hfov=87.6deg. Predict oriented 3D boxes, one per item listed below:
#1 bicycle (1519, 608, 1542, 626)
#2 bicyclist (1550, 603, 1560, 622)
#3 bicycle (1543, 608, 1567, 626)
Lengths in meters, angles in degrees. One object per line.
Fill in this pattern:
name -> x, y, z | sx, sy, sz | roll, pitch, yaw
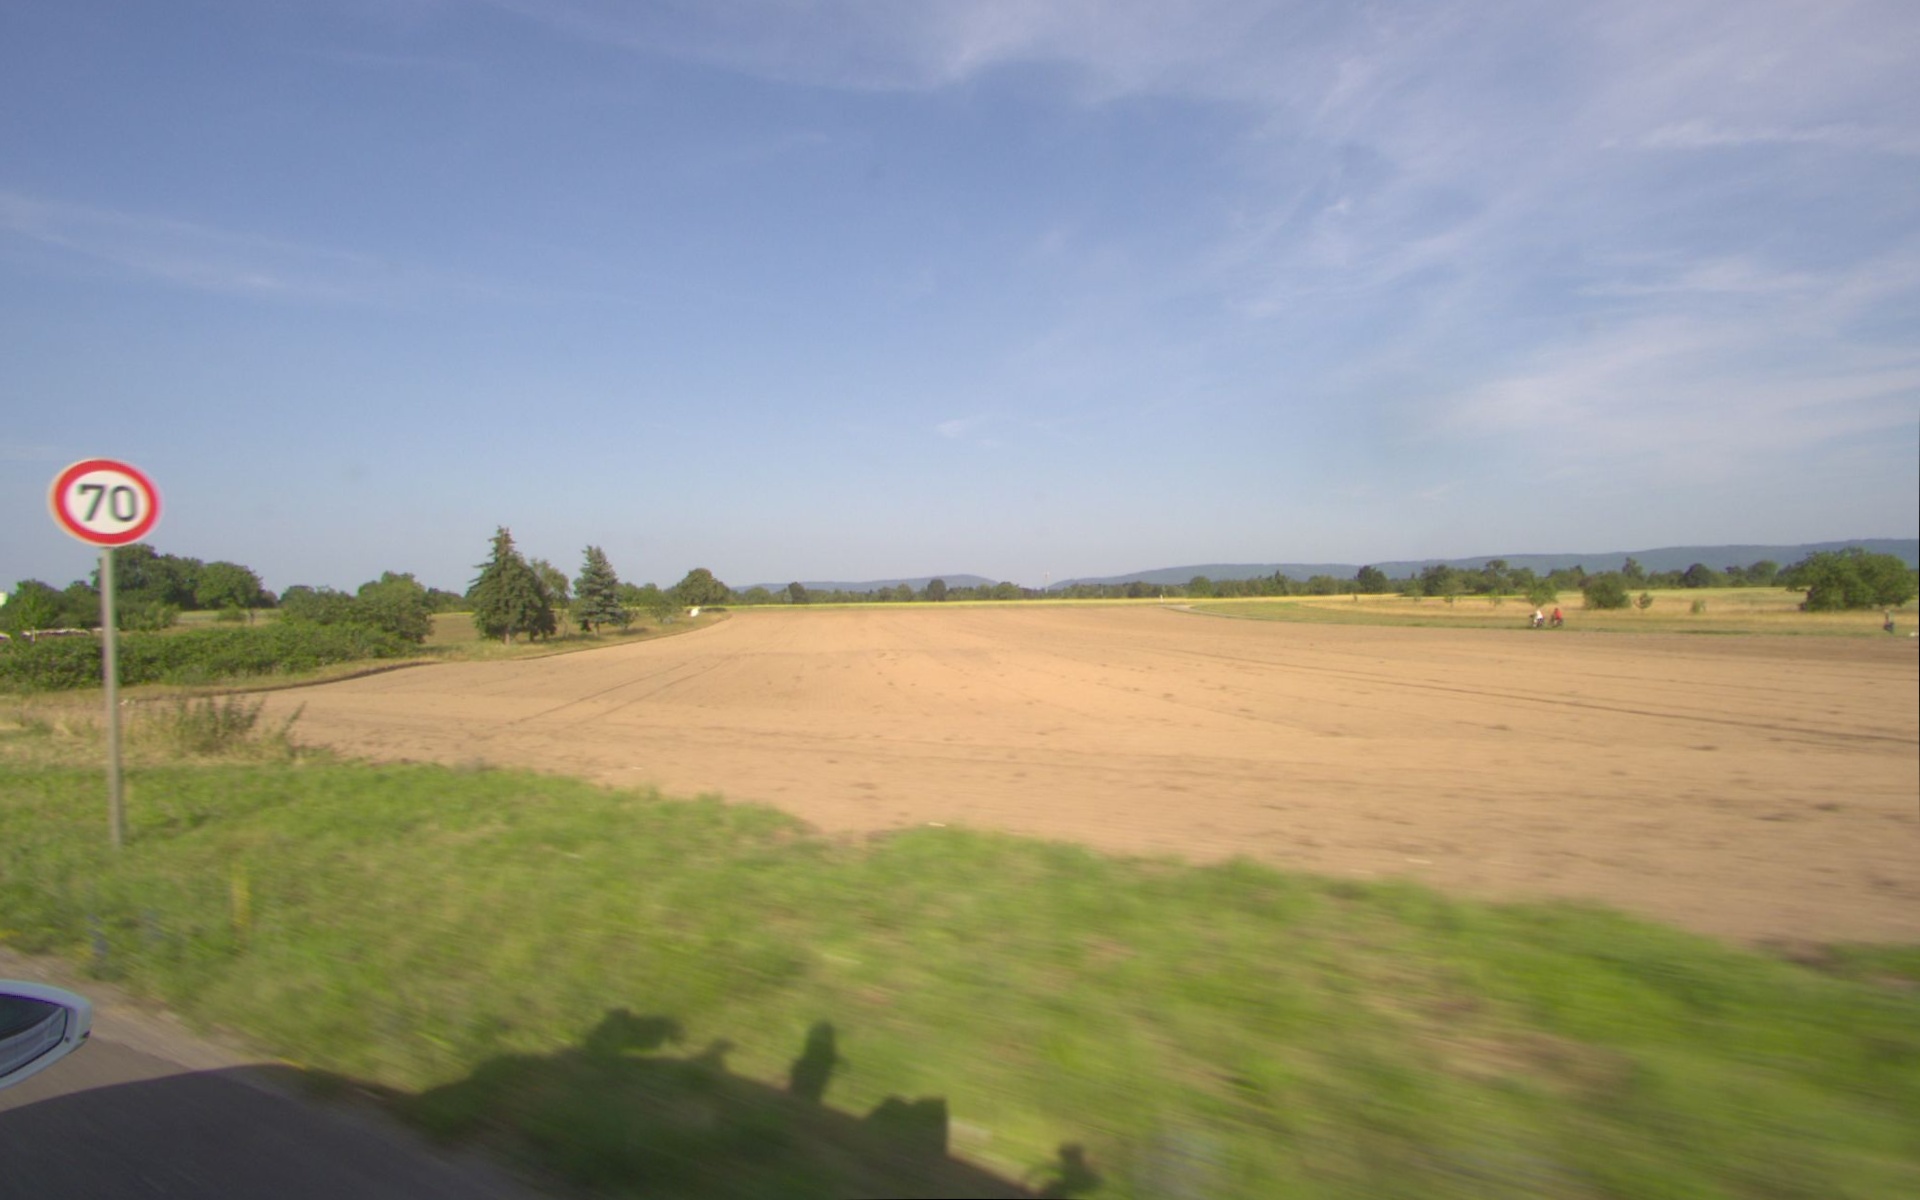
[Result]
bicycle -> 50.020, 1.525, 87.777 | 0.494, 1.550, 1.975 | 0, -1, -14
bicyclist -> 51.465, 1.093, 86.592 | 0.479, 1.617, 0.550 | 0, -1, -15
bicycle -> 51.465, 1.482, 86.620 | 0.494, 1.550, 1.975 | 0, -1, -14
